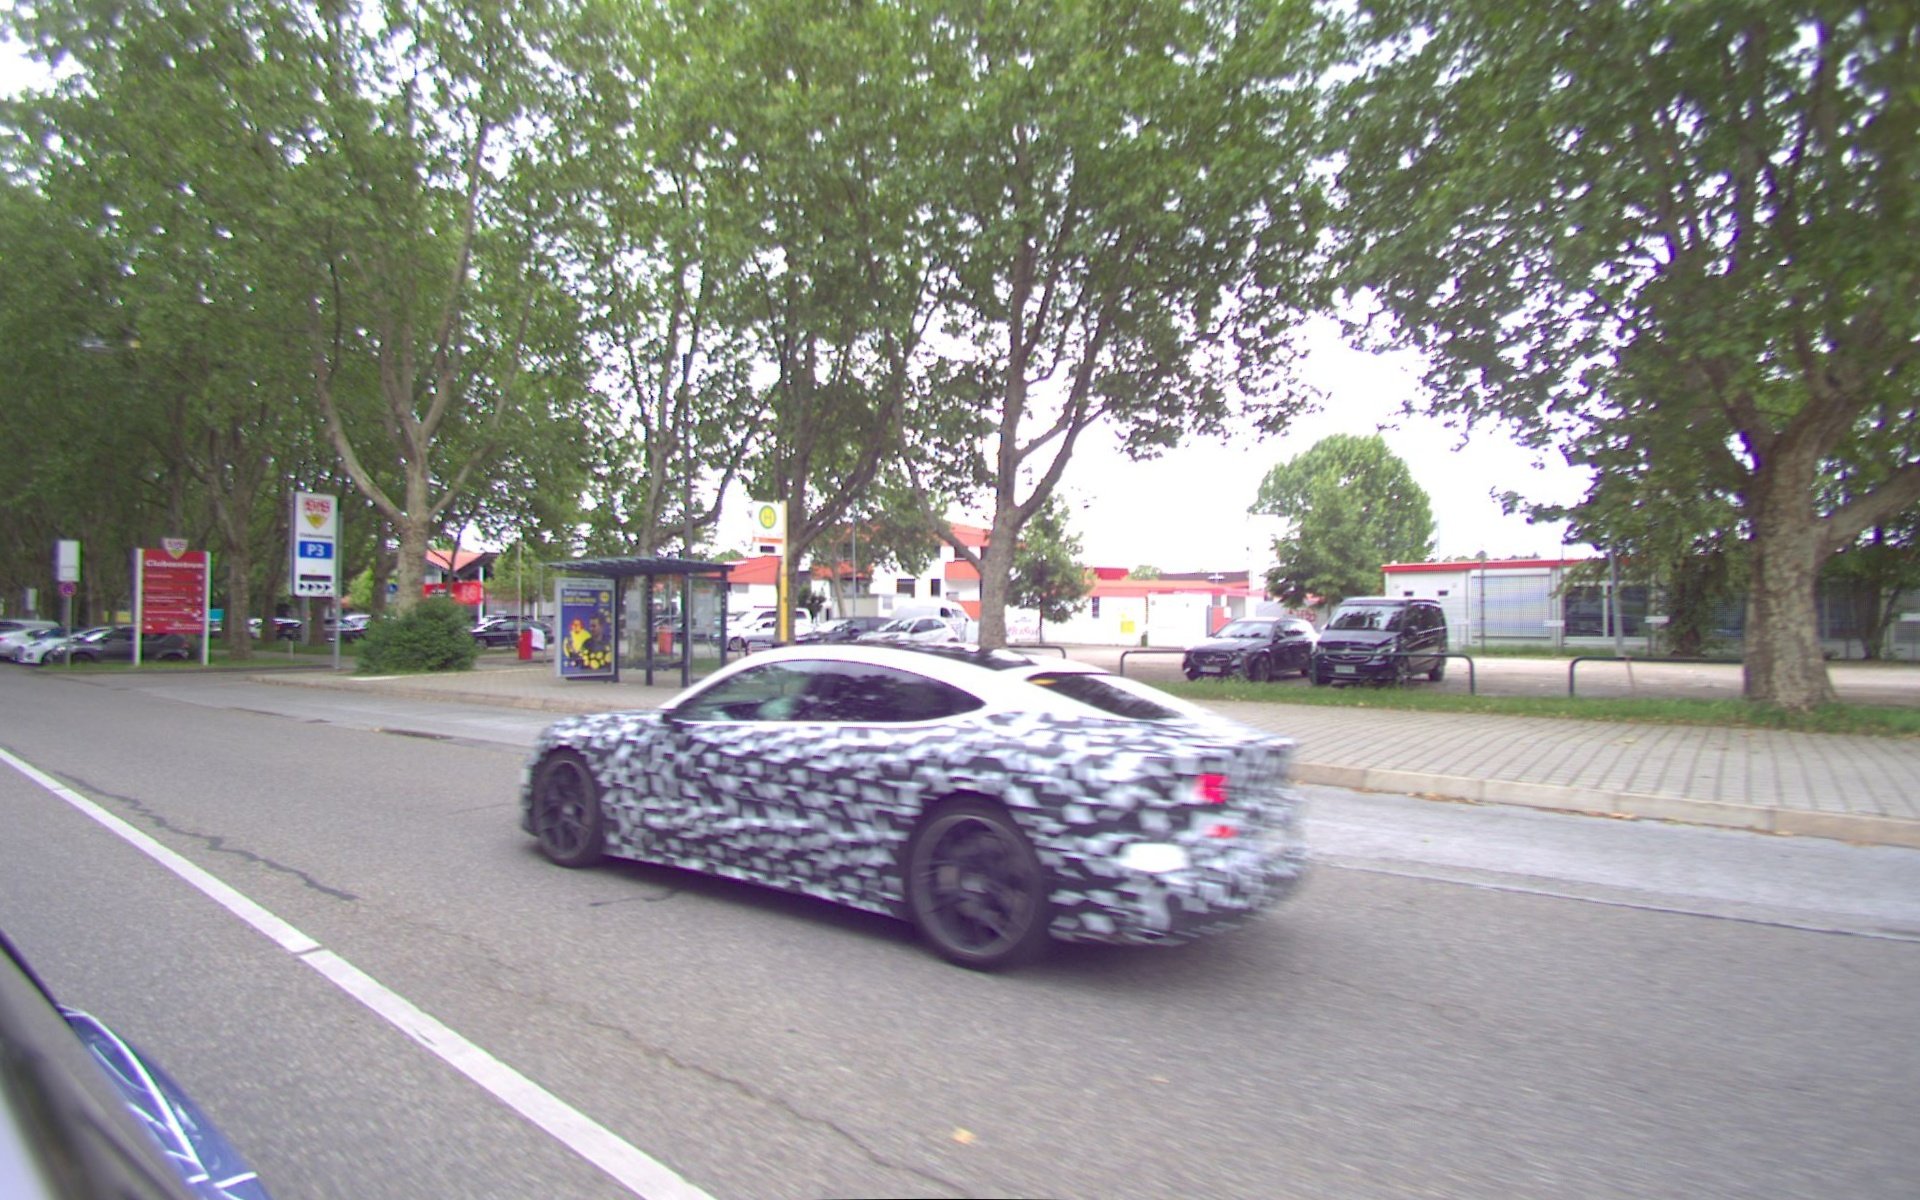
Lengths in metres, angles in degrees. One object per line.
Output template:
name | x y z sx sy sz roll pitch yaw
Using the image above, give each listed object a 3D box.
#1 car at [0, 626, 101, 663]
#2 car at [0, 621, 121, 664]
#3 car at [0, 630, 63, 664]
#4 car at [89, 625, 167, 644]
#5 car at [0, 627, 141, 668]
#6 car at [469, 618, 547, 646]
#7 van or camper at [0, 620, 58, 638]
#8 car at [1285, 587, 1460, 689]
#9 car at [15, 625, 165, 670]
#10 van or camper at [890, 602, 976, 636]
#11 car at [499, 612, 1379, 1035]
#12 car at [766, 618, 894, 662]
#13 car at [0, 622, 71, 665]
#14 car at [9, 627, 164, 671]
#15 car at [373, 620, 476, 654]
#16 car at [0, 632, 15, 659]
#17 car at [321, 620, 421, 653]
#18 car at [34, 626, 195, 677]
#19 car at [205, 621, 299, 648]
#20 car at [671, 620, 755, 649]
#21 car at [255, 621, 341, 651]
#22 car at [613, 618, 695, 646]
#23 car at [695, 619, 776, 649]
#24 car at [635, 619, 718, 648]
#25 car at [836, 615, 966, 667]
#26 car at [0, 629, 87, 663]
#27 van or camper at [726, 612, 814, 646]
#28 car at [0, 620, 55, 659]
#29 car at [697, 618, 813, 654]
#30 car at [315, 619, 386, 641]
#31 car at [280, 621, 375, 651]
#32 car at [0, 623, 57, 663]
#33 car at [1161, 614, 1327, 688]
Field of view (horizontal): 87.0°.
car | -38.456 1.827 42.045 1.883 1.415 3.949 -1 -1 38
car | -36.458 1.704 40.354 1.905 1.560 4.224 -1 -4 37
car | -42.581 2.044 44.729 2.012 1.463 4.086 -2 -5 41
car | -77.488 3.205 94.368 2.092 1.608 5.298 -1 -1 38
car | -34.152 1.776 38.847 1.860 1.416 3.948 -1 -1 39
car | -31.569 2.217 70.747 2.297 1.869 4.527 -1 -1 44
van or camper | -116.450 3.568 126.445 2.240 2.115 5.236 -1 -1 36
car | 9.312 0.782 22.662 2.262 2.041 4.568 -1 -1 41
car | -32.160 1.710 37.504 1.830 1.505 3.955 -1 -1 39
van or camper | -1.684 1.149 62.506 5.296 2.029 1.974 -1 -1 39
car | -0.383 0.888 5.725 4.804 1.464 1.884 -2 -5 36
car | -4.241 1.287 33.461 1.999 1.334 3.948 -1 -1 38
car | -41.121 1.863 43.338 1.865 1.824 4.274 -2 -4 39
car | -30.553 1.680 35.467 1.911 1.395 3.950 -1 -1 42
car | -28.150 1.908 53.297 2.129 1.722 4.279 -1 -1 38
car | -52.185 2.317 52.891 1.755 1.432 3.935 -2 -5 42
car | -33.820 2.081 58.210 2.293 1.775 4.475 -1 -1 38
car | -28.488 1.678 34.189 1.804 1.552 3.953 -1 -1 40
car | -49.144 2.385 70.316 2.179 1.810 4.896 -2 -2 36
car | -13.801 1.907 56.753 1.956 1.560 4.279 -1 -1 38
car | -43.155 2.318 66.072 2.025 1.875 4.279 -1 -1 38
car | -17.919 1.852 59.375 1.956 1.560 4.279 -1 -1 38
car | -12.177 1.826 55.093 1.787 1.560 4.178 -1 -1 38
car | -16.173 1.896 57.841 1.956 1.560 4.279 -1 -1 38
car | -1.817 1.255 32.119 2.000 1.534 3.947 -1 -1 39
car | -40.468 1.973 43.493 1.964 1.364 4.150 -1 -1 37
van or camper | -10.072 1.498 53.881 2.129 1.722 4.279 -1 -1 38
car | -46.173 1.881 48.172 1.863 1.824 4.279 -2 -4 35
car | -9.370 1.606 46.245 4.891 1.564 2.107 0 -1 -24
car | -53.055 2.553 88.194 2.179 1.810 4.896 -1 -1 36
car | -39.131 2.212 62.689 2.293 1.739 4.508 -1 -1 38
car | -44.406 1.967 46.355 2.034 1.808 4.274 -1 -1 39
car | 6.931 1.135 24.416 2.108 1.579 4.577 0 0 41
